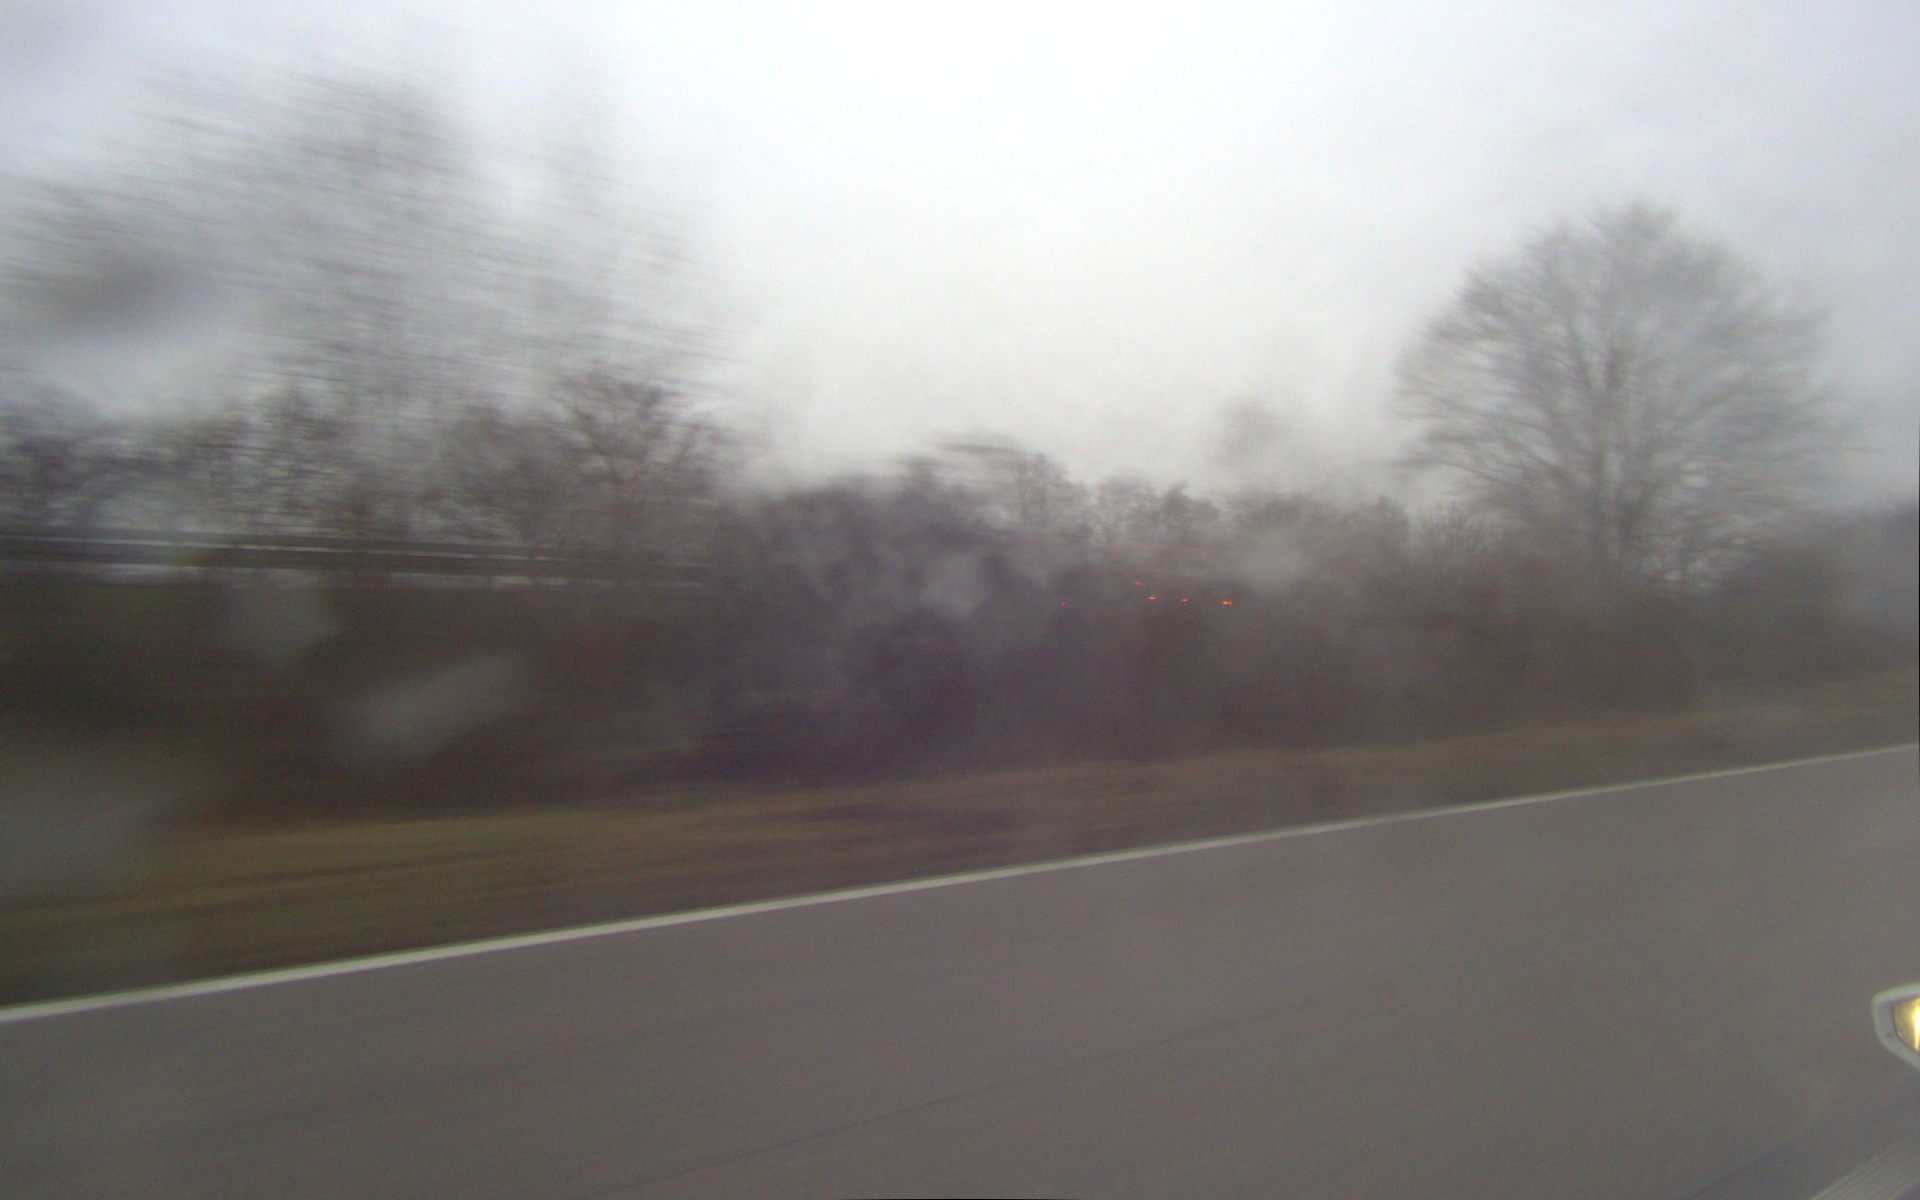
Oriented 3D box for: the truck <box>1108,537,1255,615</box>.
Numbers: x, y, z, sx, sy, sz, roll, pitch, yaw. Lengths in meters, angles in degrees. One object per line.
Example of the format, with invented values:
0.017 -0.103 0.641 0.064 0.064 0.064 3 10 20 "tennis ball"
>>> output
7.524 -0.754 34.007 4.771 2.374 1.984 2 0 -30 "truck"
